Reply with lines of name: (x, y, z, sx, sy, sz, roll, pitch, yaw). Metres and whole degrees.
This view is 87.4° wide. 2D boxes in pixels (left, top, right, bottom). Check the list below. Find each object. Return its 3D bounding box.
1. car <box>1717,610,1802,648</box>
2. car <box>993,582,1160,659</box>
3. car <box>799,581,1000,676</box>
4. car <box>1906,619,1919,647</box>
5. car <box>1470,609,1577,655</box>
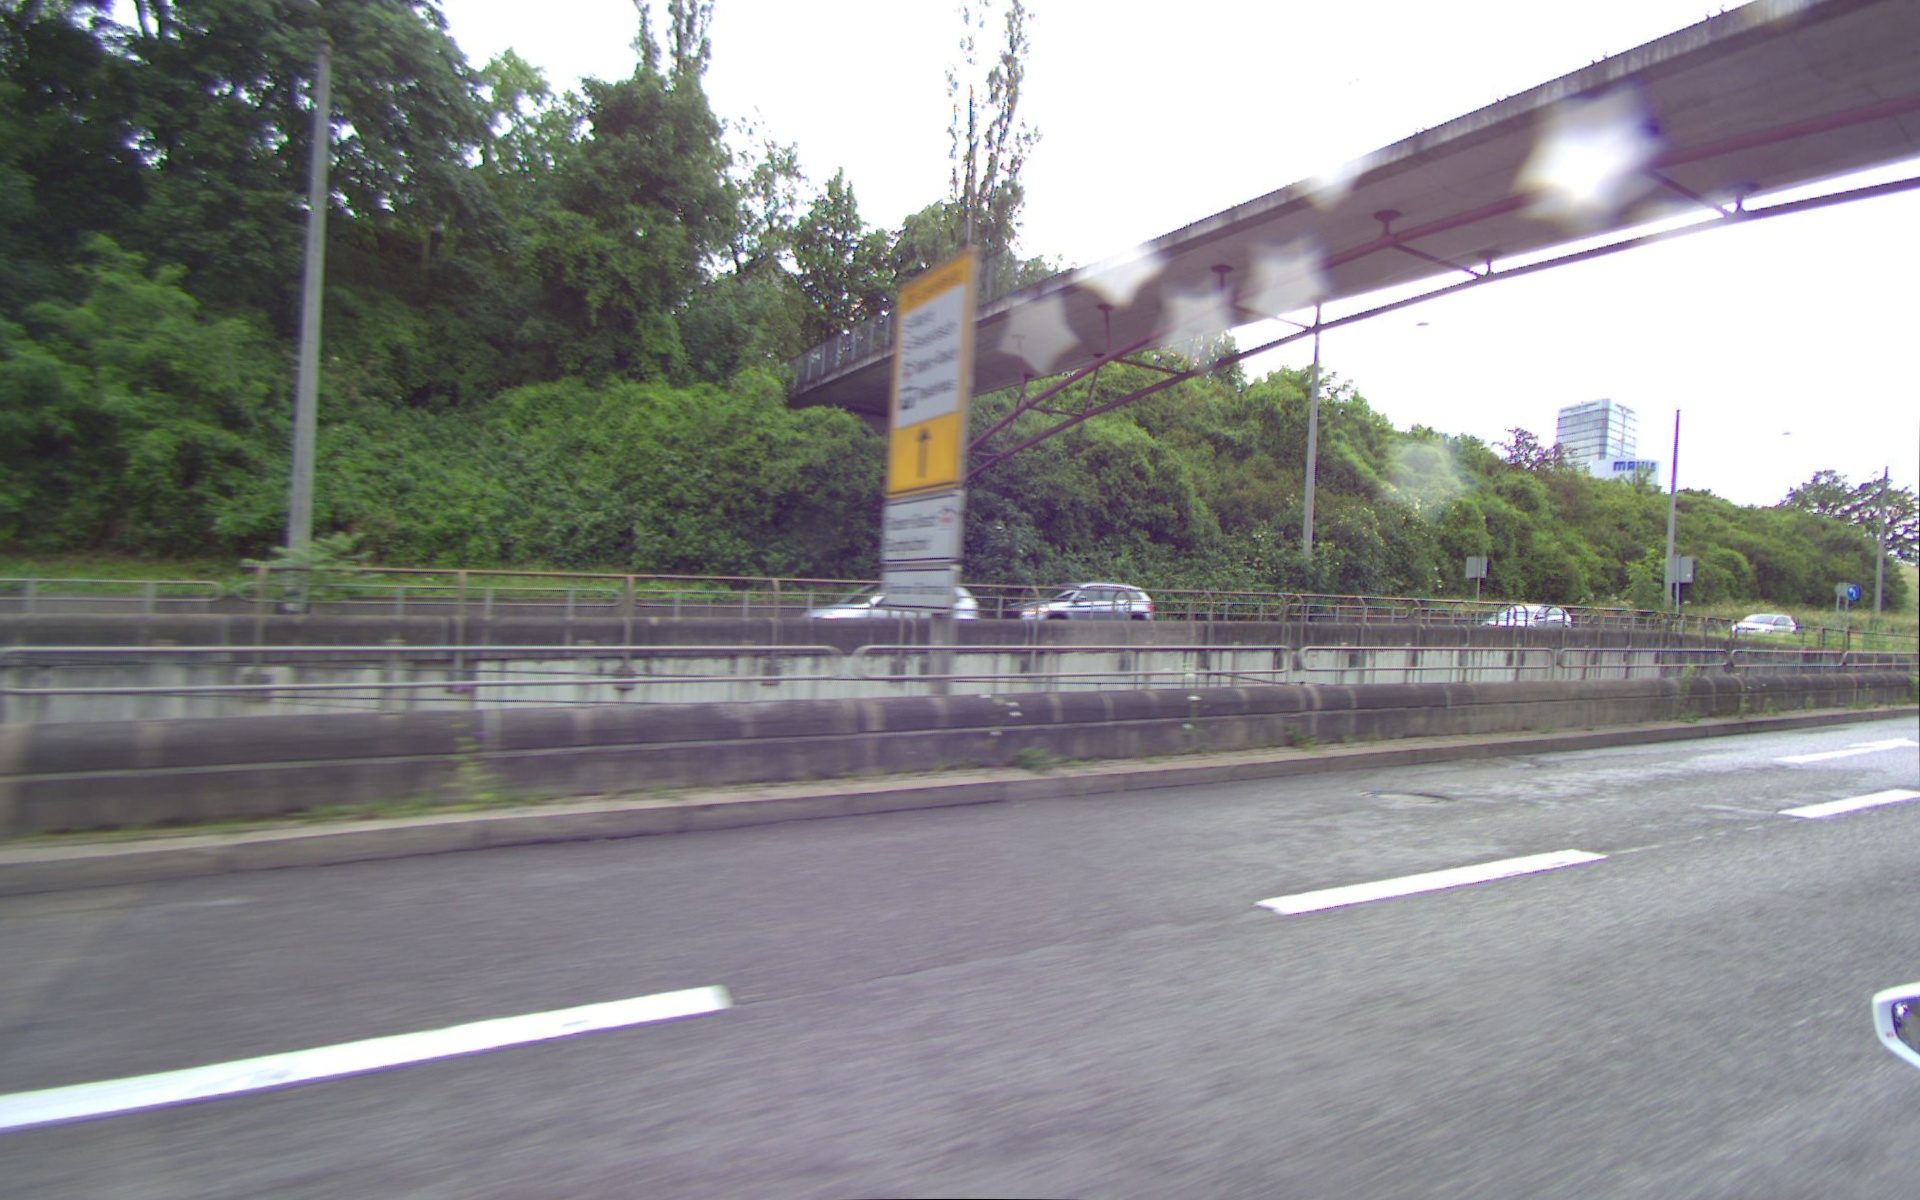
car: (42.157, 1.533, 52.958, 4.576, 1.859, 1.984, 2, 0, -31)
car: (3.208, 0.582, 27.305, 4.510, 1.941, 1.661, 2, -1, -33)
car: (-1.243, 0.596, 21.194, 3.954, 1.854, 1.662, 1, -1, -31)
car: (60.419, 2.159, 61.700, 4.667, 1.659, 1.984, 3, 2, -30)
car: (22.830, 1.314, 40.616, 4.657, 1.744, 1.981, 2, -2, -35)
